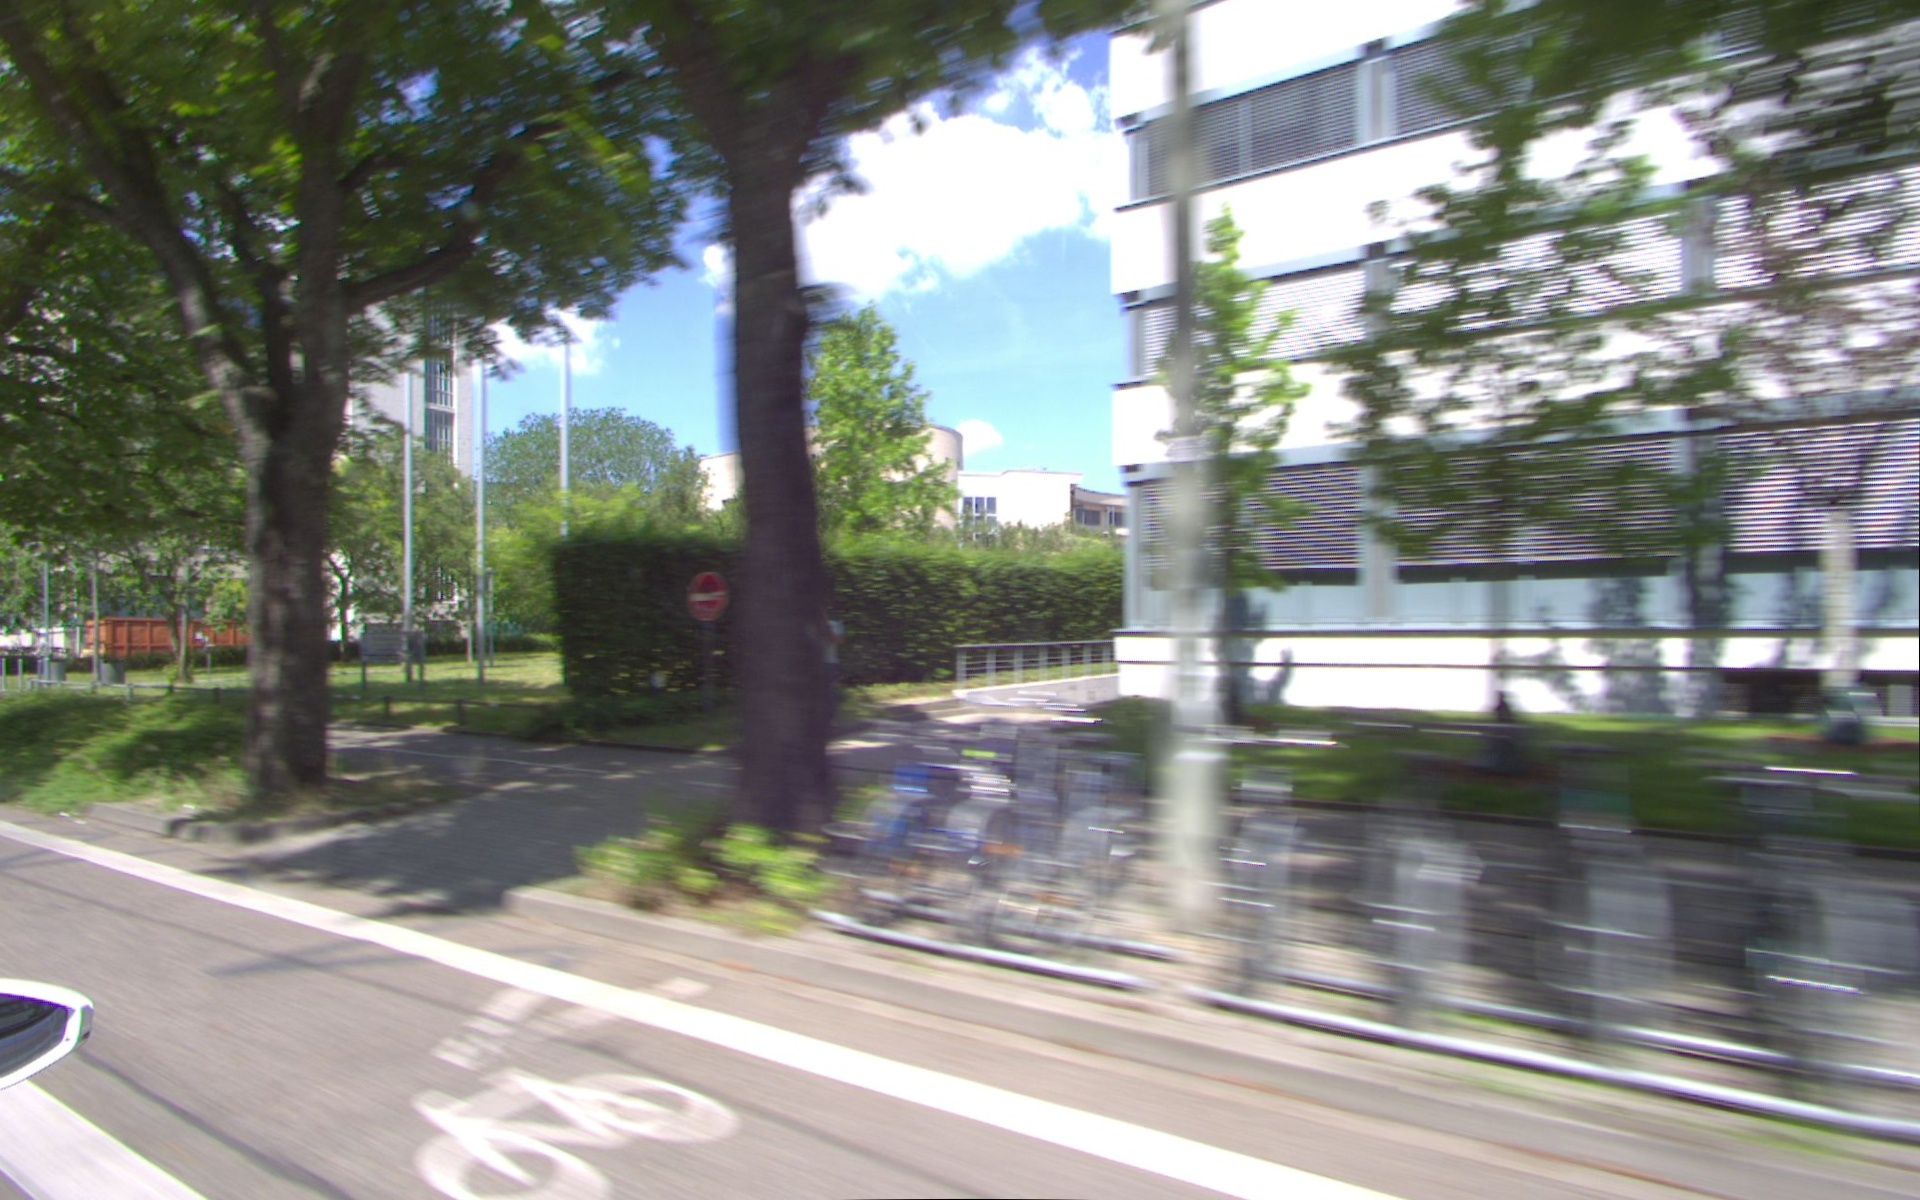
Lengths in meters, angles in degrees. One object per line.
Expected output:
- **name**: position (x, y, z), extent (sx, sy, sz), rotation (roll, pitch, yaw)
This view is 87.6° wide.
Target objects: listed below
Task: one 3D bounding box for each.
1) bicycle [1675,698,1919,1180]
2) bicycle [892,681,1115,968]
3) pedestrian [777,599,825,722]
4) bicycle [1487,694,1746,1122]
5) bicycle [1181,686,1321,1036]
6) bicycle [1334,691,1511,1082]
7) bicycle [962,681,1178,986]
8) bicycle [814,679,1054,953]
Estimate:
- **bicycle**: position (2.919, 0.977, 3.457), extent (0.506, 1.125, 1.806), rotation (-1, -1, 29)
- **bicycle**: position (0.305, 1.045, 5.229), extent (0.389, 1.125, 1.806), rotation (-1, -1, 29)
- **pedestrian**: position (-2.347, 0.878, 14.793), extent (0.616, 1.771, 0.657), rotation (-1, 0, -5)
- **bicycle**: position (2.447, 1.002, 3.915), extent (0.527, 1.125, 1.808), rotation (-1, -1, 23)
- **bicycle**: position (1.348, 1.018, 4.531), extent (0.481, 1.125, 1.810), rotation (-1, -1, 19)
- **bicycle**: position (1.895, 1.016, 4.184), extent (0.524, 1.125, 1.808), rotation (-1, -1, 23)
- **bicycle**: position (0.622, 1.030, 4.993), extent (0.389, 1.125, 1.806), rotation (-1, -1, 29)
- **bicycle**: position (-0.059, 1.052, 5.448), extent (0.442, 1.125, 1.806), rotation (-1, -1, 29)
